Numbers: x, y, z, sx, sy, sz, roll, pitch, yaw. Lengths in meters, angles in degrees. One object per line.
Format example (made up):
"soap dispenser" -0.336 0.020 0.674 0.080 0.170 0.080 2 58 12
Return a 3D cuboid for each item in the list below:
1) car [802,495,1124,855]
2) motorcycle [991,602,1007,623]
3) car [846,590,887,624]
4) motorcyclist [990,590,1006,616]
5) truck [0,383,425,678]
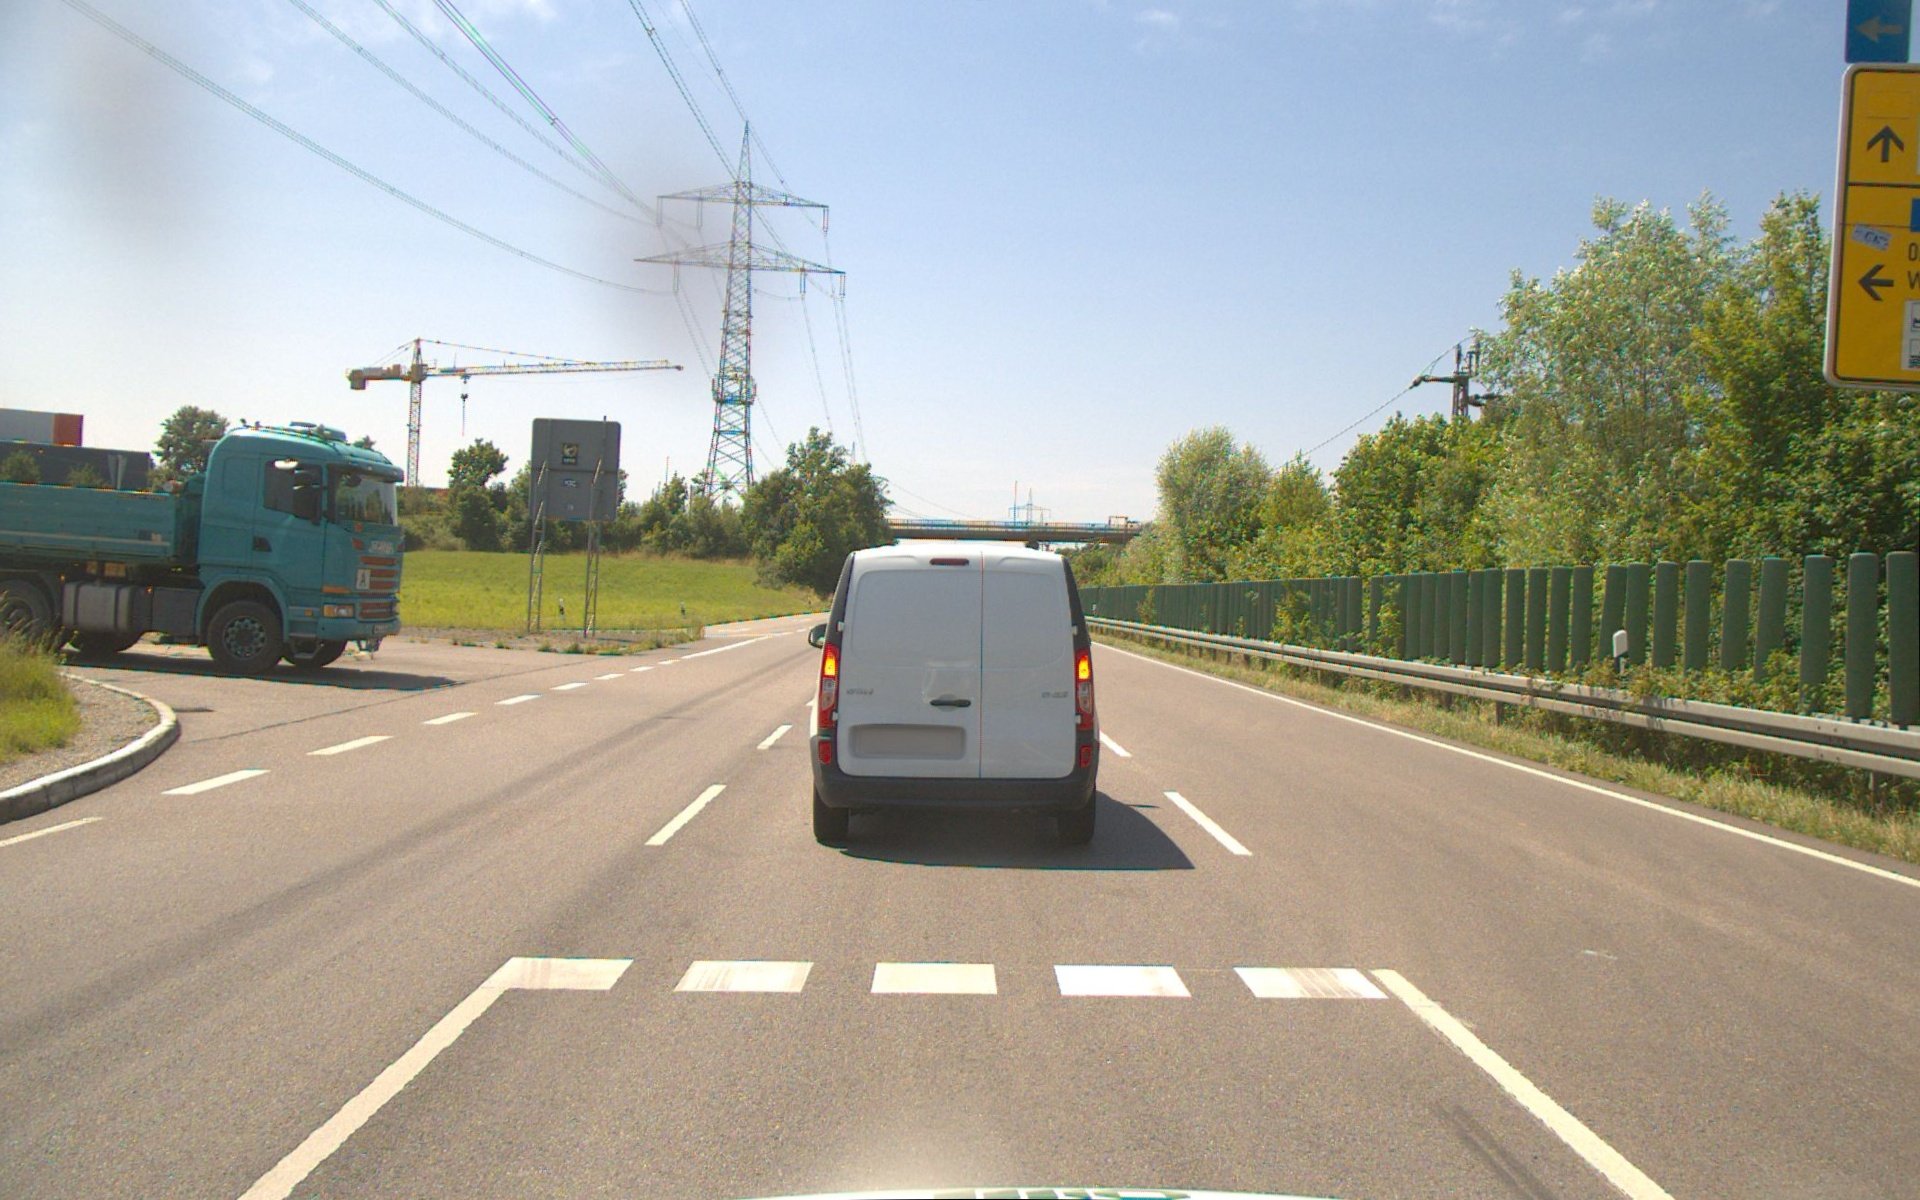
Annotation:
"car" -0.017 0.416 11.309 1.790 2.005 3.999 1 0 -1
"motorcycle" 2.255 0.700 95.365 0.774 1.178 1.901 2 0 -2
"car" -4.398 0.312 78.092 1.746 1.489 3.999 2 0 -1
"motorcyclist" 2.202 0.181 95.561 0.871 1.502 1.002 1 0 -1
"truck" -12.270 -1.058 24.354 7.742 3.799 2.498 4 0 1
